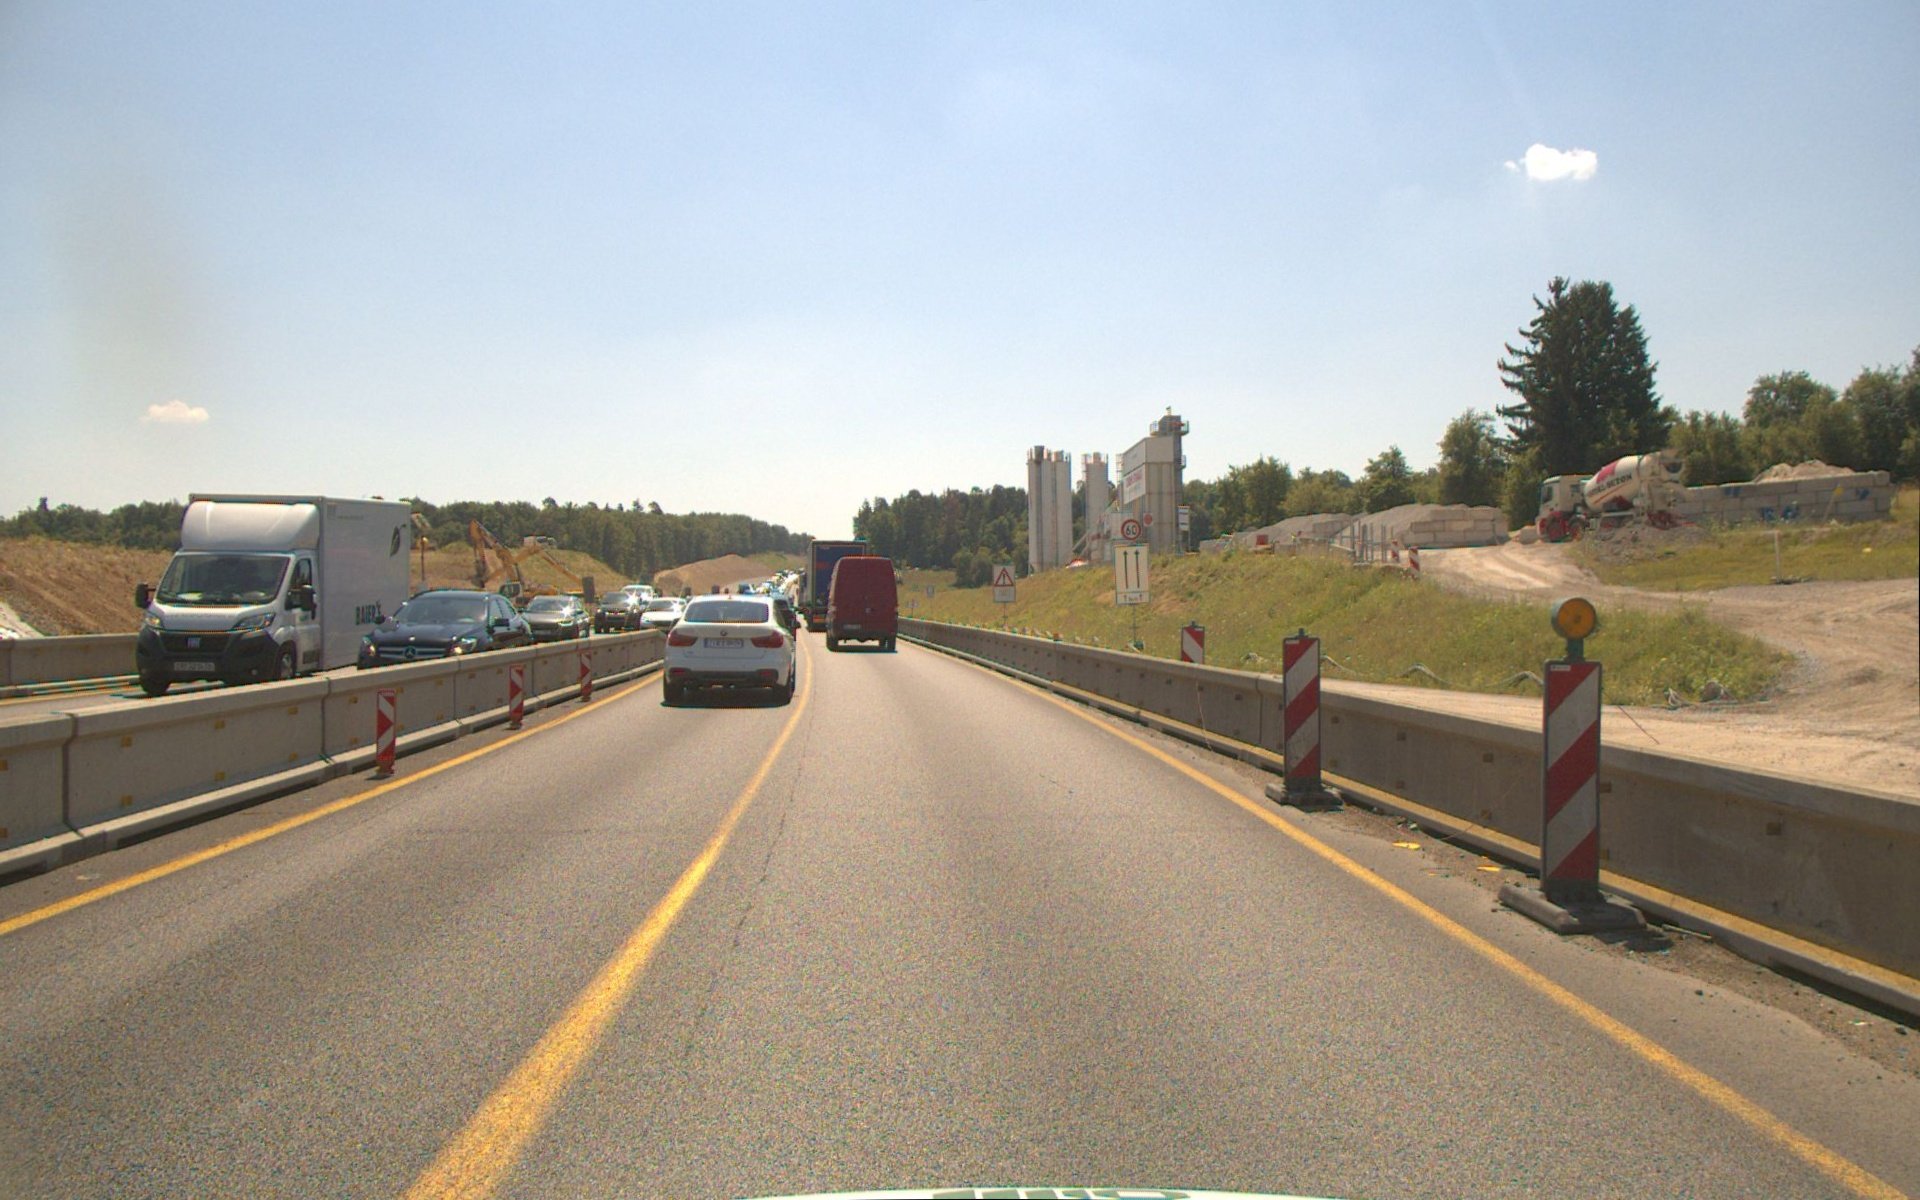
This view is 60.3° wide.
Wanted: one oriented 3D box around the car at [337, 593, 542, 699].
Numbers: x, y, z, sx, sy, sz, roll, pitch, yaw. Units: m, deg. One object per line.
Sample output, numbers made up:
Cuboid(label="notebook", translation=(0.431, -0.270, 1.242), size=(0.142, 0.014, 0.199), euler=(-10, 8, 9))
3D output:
Cuboid(label="car", translation=(-7.670, 0.619, 24.817), size=(1.772, 1.439, 4.398), euler=(0, 0, -1))

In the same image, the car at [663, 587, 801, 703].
Cuboid(label="car", translation=(-3.325, 0.611, 24.956), size=(1.760, 1.561, 5.068), euler=(1, 0, -5))

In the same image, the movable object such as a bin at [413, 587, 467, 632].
Cuboid(label="movable object such as a bin", translation=(-30.258, 0.528, 96.417), size=(1.669, 2.504, 6.736), euler=(-1, 0, -6))

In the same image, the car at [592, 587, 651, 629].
Cuboid(label="car", translation=(-14.172, 0.329, 69.441), size=(1.886, 1.708, 4.712), euler=(0, 0, -5))

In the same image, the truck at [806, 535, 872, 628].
Cuboid(label="truck", translation=(-5.893, -0.875, 79.810), size=(2.957, 4.225, 8.263), euler=(-1, 0, -5))

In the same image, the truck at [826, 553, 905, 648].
Cuboid(label="truck", translation=(-2.942, -0.001, 50.326), size=(2.071, 2.679, 6.476), euler=(-1, 0, -6))

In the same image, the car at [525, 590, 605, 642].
Cuboid(label="car", translation=(-11.801, 0.445, 49.645), size=(1.787, 1.448, 4.640), euler=(-1, 0, -7))

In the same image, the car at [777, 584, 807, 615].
Cuboid(label="car", translation=(-11.328, -0.030, 111.721), size=(1.955, 2.049, 3.995), euler=(-1, 0, -5))

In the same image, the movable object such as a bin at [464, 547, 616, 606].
Cuboid(label="movable object such as a bin", translation=(-53.339, -2.987, 210.727), size=(18.360, 7.357, 3.609), euler=(-1, 0, -8))

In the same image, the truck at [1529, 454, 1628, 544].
Cuboid(label="truck", translation=(30.214, -4.878, 80.963), size=(2.699, 4.167, 4.084), euler=(-1, 0, -15))

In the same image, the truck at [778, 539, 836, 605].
Cuboid(label="truck", translation=(-11.545, -2.083, 125.900), size=(3.609, 4.773, 9.750), euler=(-1, 0, -1))

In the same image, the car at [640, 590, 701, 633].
Cuboid(label="car", translation=(-10.358, 0.392, 59.443), size=(1.780, 1.481, 4.629), euler=(-1, 0, -5))

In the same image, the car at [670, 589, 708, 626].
Cuboid(label="car", translation=(-12.311, 0.338, 75.203), size=(1.663, 1.607, 4.125), euler=(-1, 0, -9))

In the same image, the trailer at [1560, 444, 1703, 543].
Cuboid(label="trailer", translation=(31.191, -4.863, 77.098), size=(2.710, 4.186, 6.720), euler=(-1, 0, -14))

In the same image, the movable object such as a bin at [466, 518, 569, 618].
Cuboid(label="movable object such as a bin", translation=(-35.596, -2.556, 133.272), size=(7.487, 7.848, 3.442), euler=(-1, 0, -5))

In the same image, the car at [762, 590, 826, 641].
Cuboid(label="car", translation=(-5.371, 0.478, 54.043), size=(1.758, 1.561, 3.930), euler=(-1, 0, -1))

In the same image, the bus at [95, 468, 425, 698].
Cuboid(label="bus", translation=(-10.944, -0.258, 26.717), size=(2.301, 3.180, 7.228), euler=(-1, 0, -1))

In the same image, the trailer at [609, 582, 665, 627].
Cuboid(label="trailer", translation=(-15.059, 0.184, 77.337), size=(2.089, 2.017, 5.229), euler=(0, 0, -5))
